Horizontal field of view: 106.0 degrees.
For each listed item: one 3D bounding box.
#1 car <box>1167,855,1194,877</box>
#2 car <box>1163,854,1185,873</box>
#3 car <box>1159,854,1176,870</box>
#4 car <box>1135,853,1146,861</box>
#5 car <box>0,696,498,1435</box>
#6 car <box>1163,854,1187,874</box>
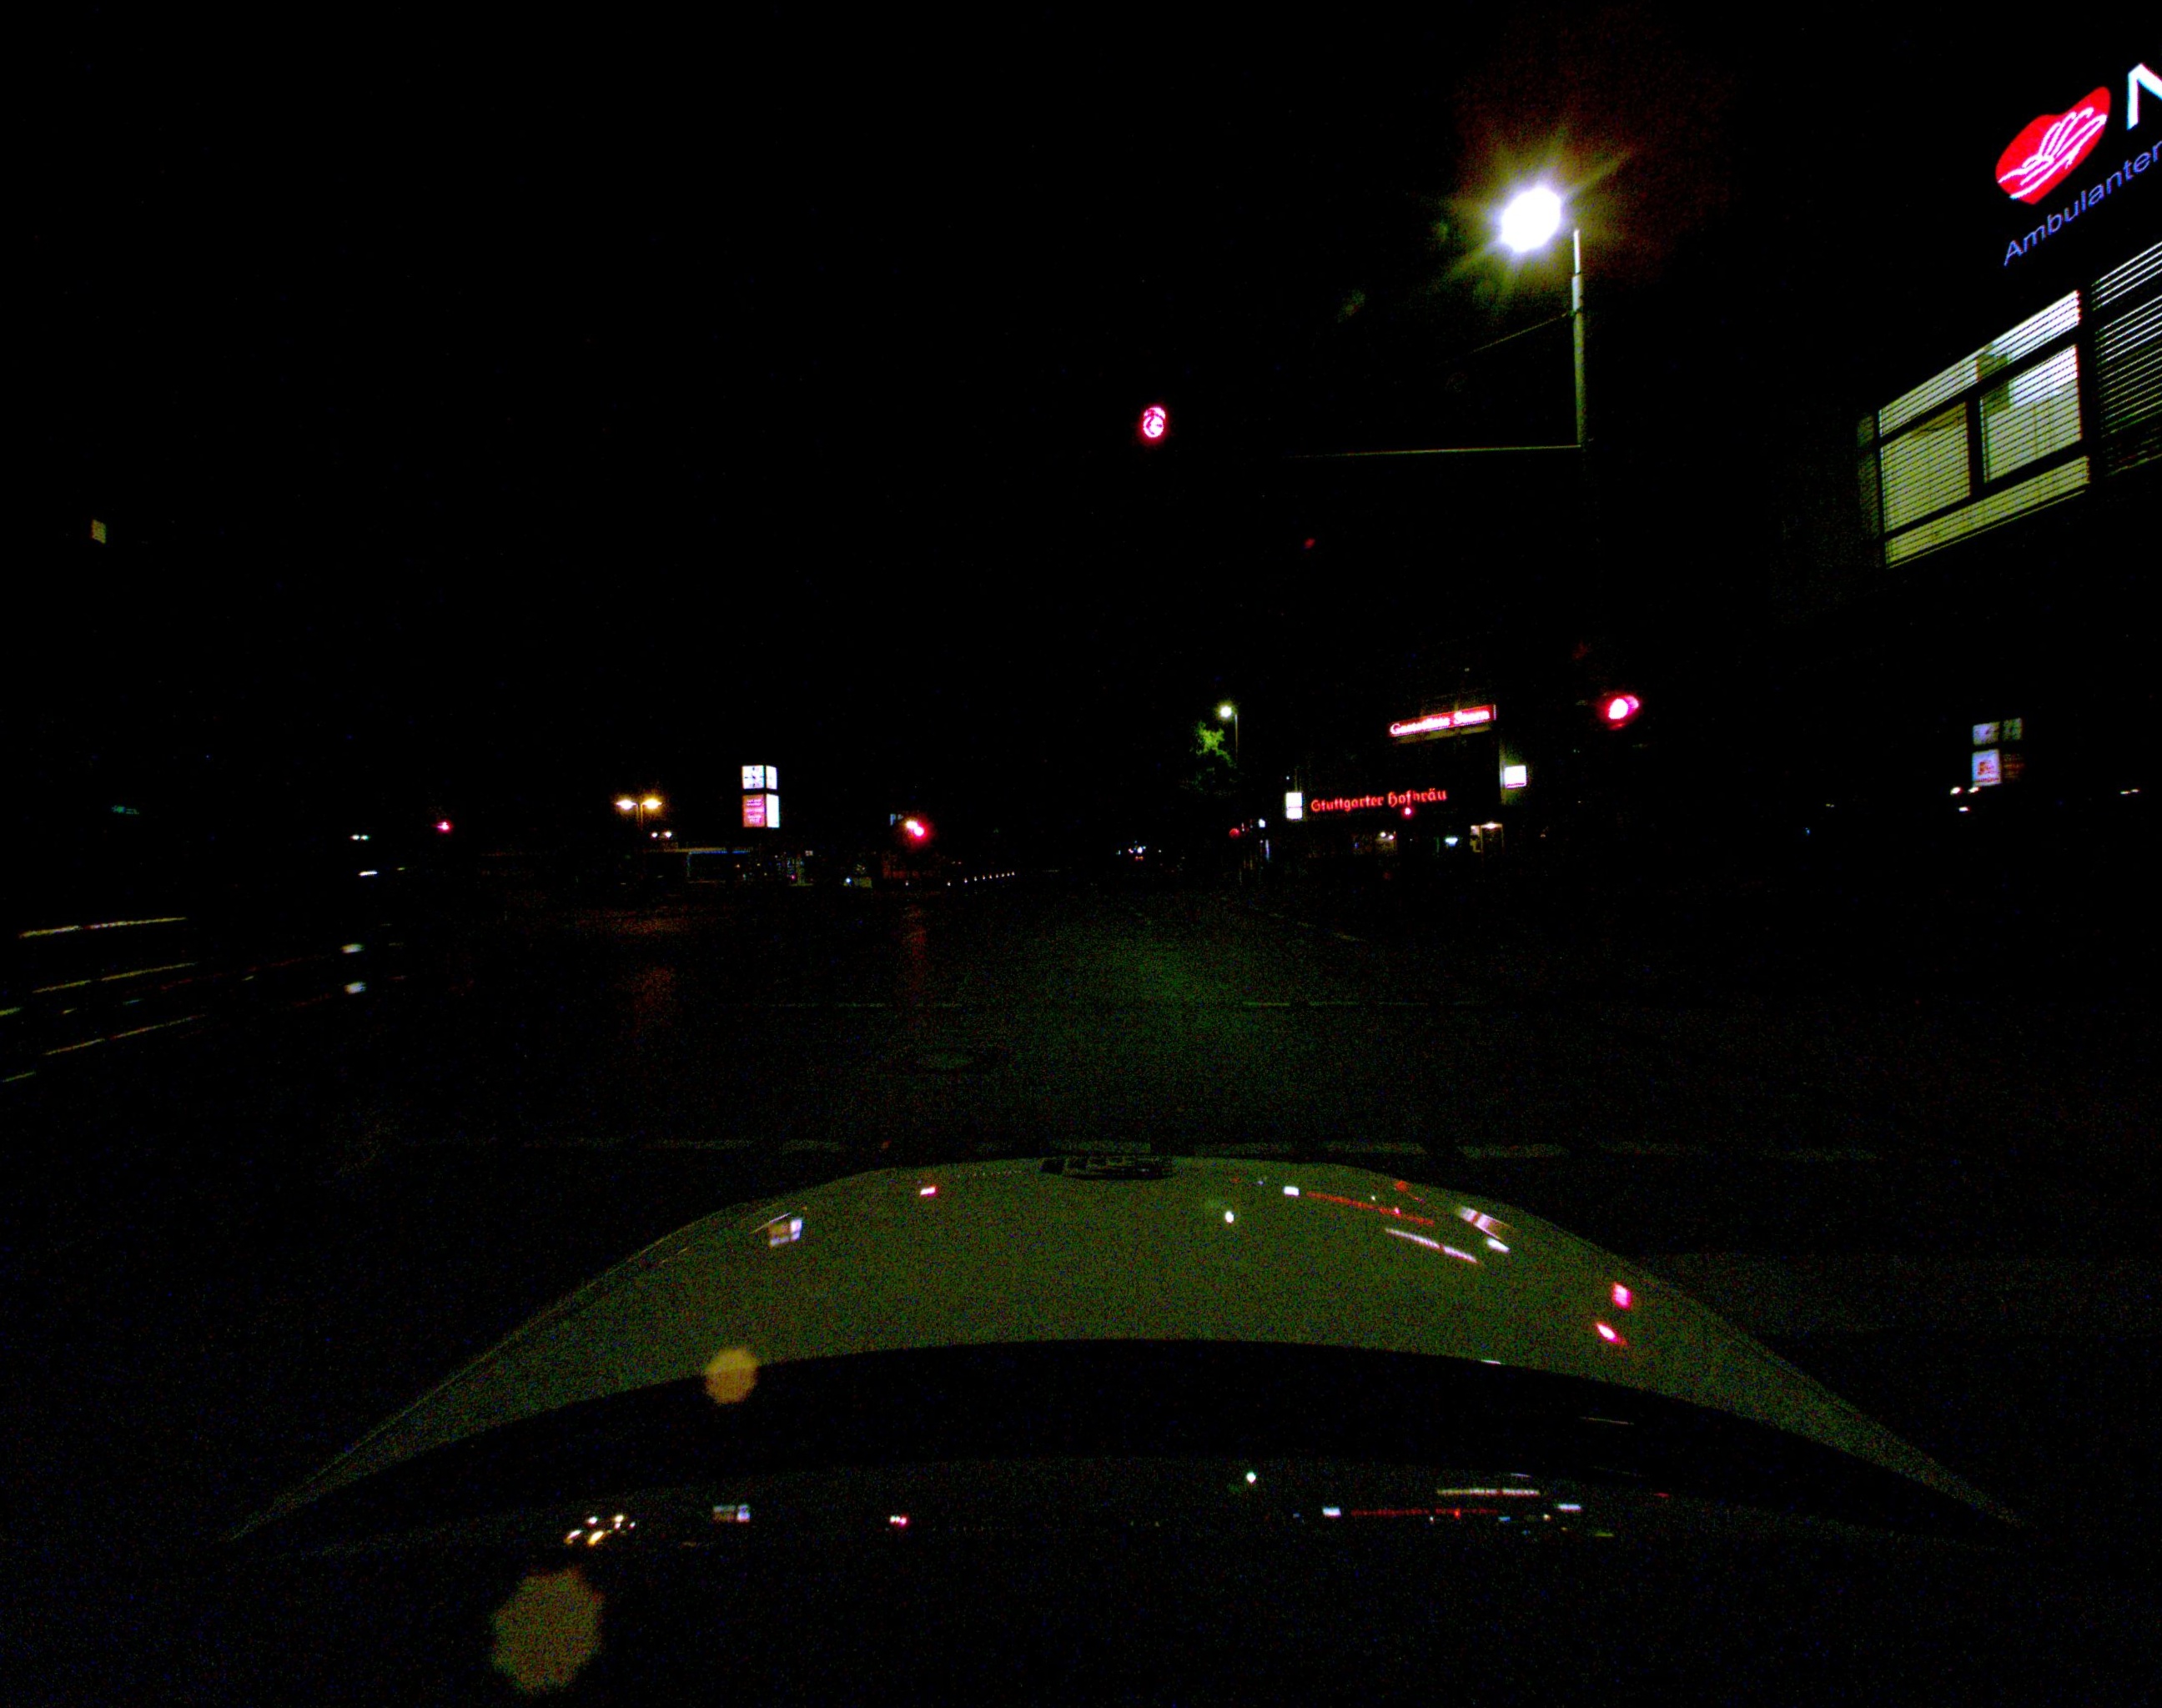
[{"bbox_3d":[7.740,0.948,63.583,1.868,1.615,4.005,-2,-1,5],"label":"car"},{"bbox_3d":[8.675,0.874,76.428,1.868,1.729,4.005,-2,-1,5],"label":"car"},{"bbox_3d":[10.038,0.929,94.480,1.868,1.683,4.005,-2,-1,5],"label":"car"},{"bbox_3d":[13.455,0.726,183.676,2.219,1.651,4.001,-1,0,2],"label":"car"},{"bbox_3d":[-3.704,0.554,1.835,1.967,1.871,4.893,-2,-1,-11],"label":"car"},{"bbox_3d":[7.881,0.828,68.771,1.868,1.615,4.005,-2,-1,5],"label":"car"}]
